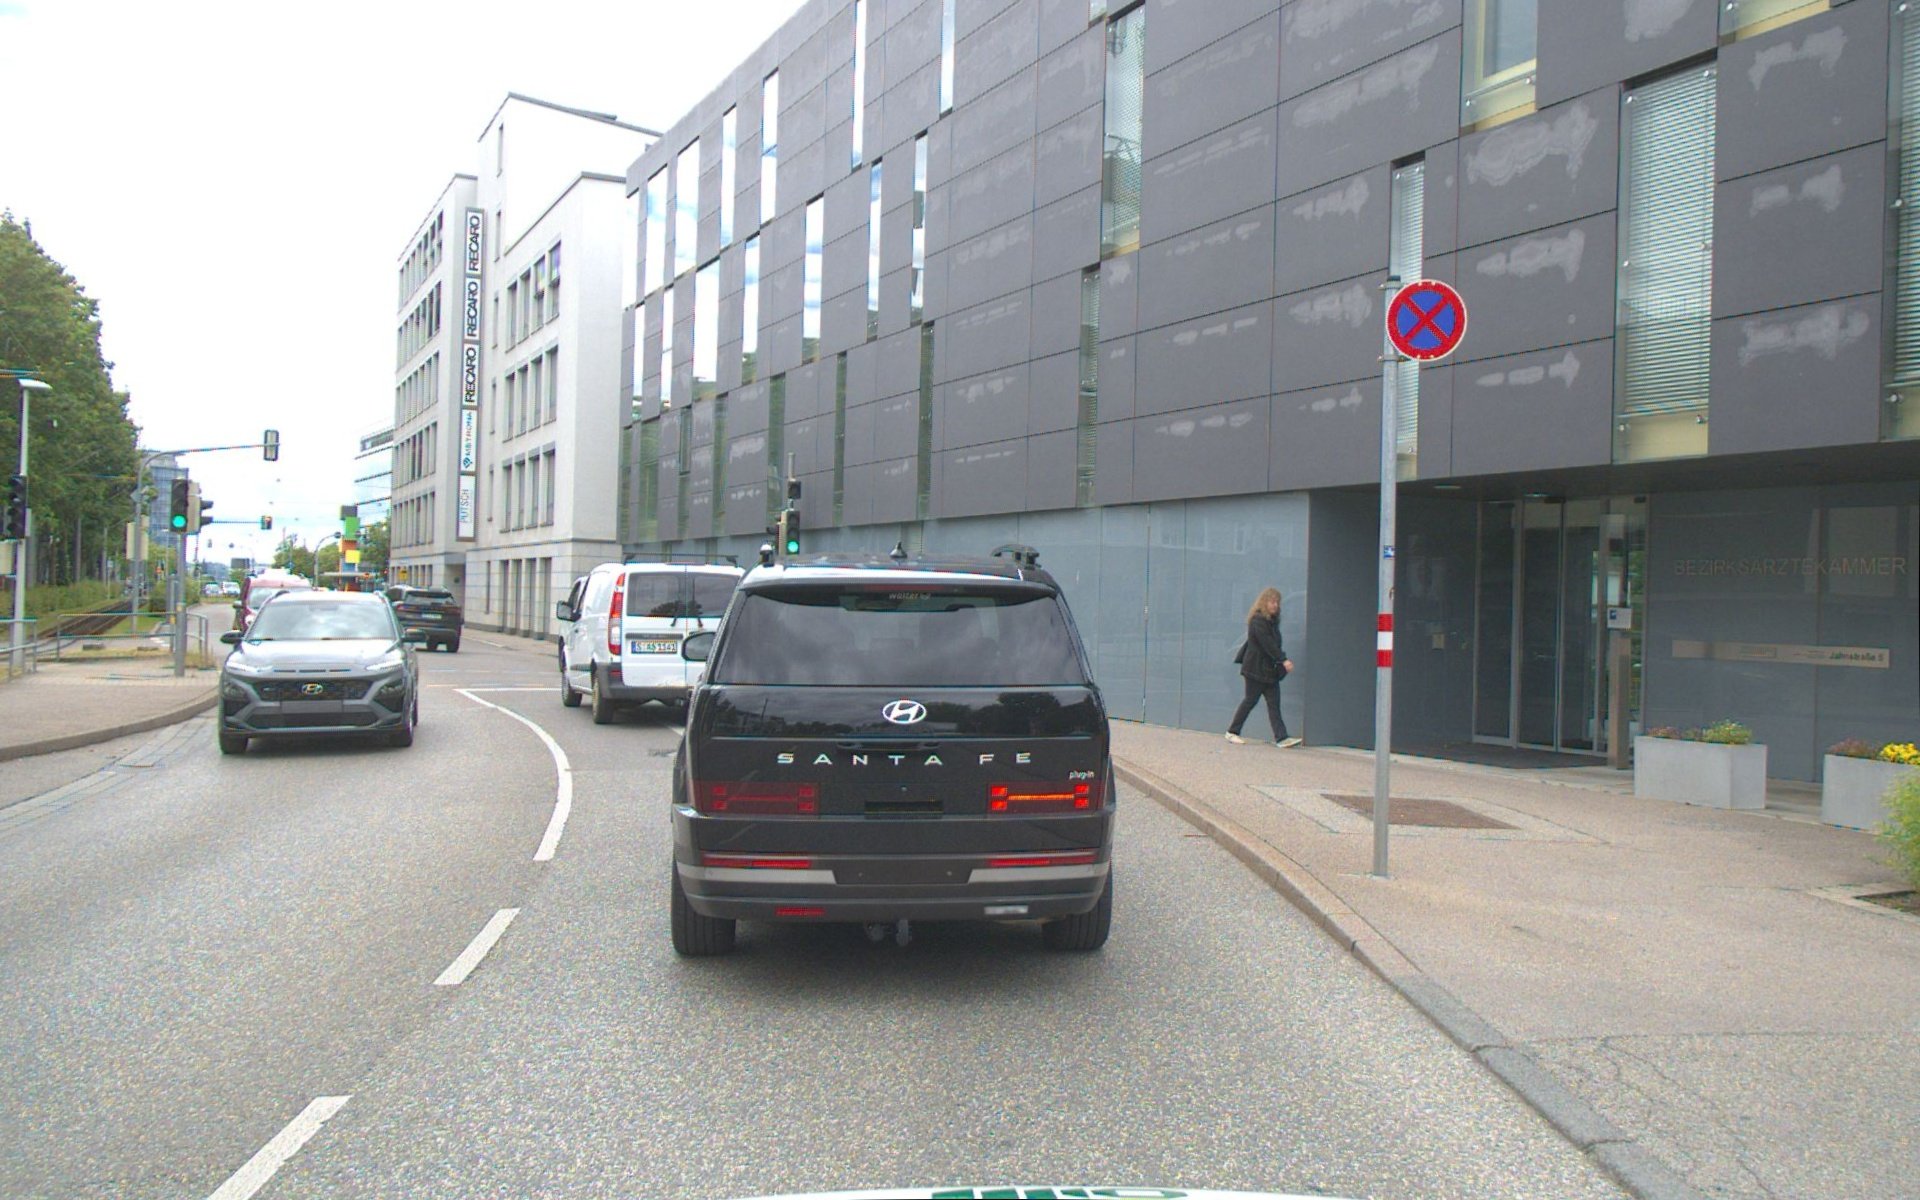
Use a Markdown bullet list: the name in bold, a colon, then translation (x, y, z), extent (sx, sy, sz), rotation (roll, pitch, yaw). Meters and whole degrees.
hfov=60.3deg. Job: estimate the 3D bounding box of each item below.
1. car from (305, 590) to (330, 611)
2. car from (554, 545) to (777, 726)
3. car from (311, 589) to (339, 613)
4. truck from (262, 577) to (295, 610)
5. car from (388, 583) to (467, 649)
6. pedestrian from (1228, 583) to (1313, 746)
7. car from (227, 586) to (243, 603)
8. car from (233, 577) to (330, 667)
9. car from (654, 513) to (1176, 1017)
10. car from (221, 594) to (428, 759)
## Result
- **car**: translation (-51.869, 0.045, 133.499), extent (1.735, 1.637, 4.160), rotation (1, 0, -22)
- **car**: translation (-3.843, 0.405, 20.946), extent (1.904, 2.029, 4.506), rotation (1, 0, -21)
- **car**: translation (-44.840, 0.064, 116.721), extent (1.735, 1.637, 4.160), rotation (1, 0, -22)
- **truck**: translation (-56.943, -0.569, 138.089), extent (2.139, 2.661, 5.748), rotation (1, 0, -26)
- **car**: translation (-14.171, 0.410, 43.884), extent (1.734, 1.637, 4.161), rotation (1, 0, -21)
- **pedestrian**: translation (3.378, 0.688, 18.049), extent (0.844, 1.724, 0.714), rotation (1, 0, 7)
- **car**: translation (-84.027, -0.679, 191.730), extent (1.645, 1.915, 3.970), rotation (1, 0, -24)
- **car**: translation (-14.818, 0.440, 35.993), extent (1.660, 1.840, 4.314), rotation (0, 0, -26)
- **car**: translation (-0.377, 0.590, 8.134), extent (1.872, 1.780, 4.391), rotation (1, 0, -6)
- **car**: translation (-6.558, 0.702, 17.420), extent (1.740, 1.504, 3.981), rotation (0, 0, -17)
